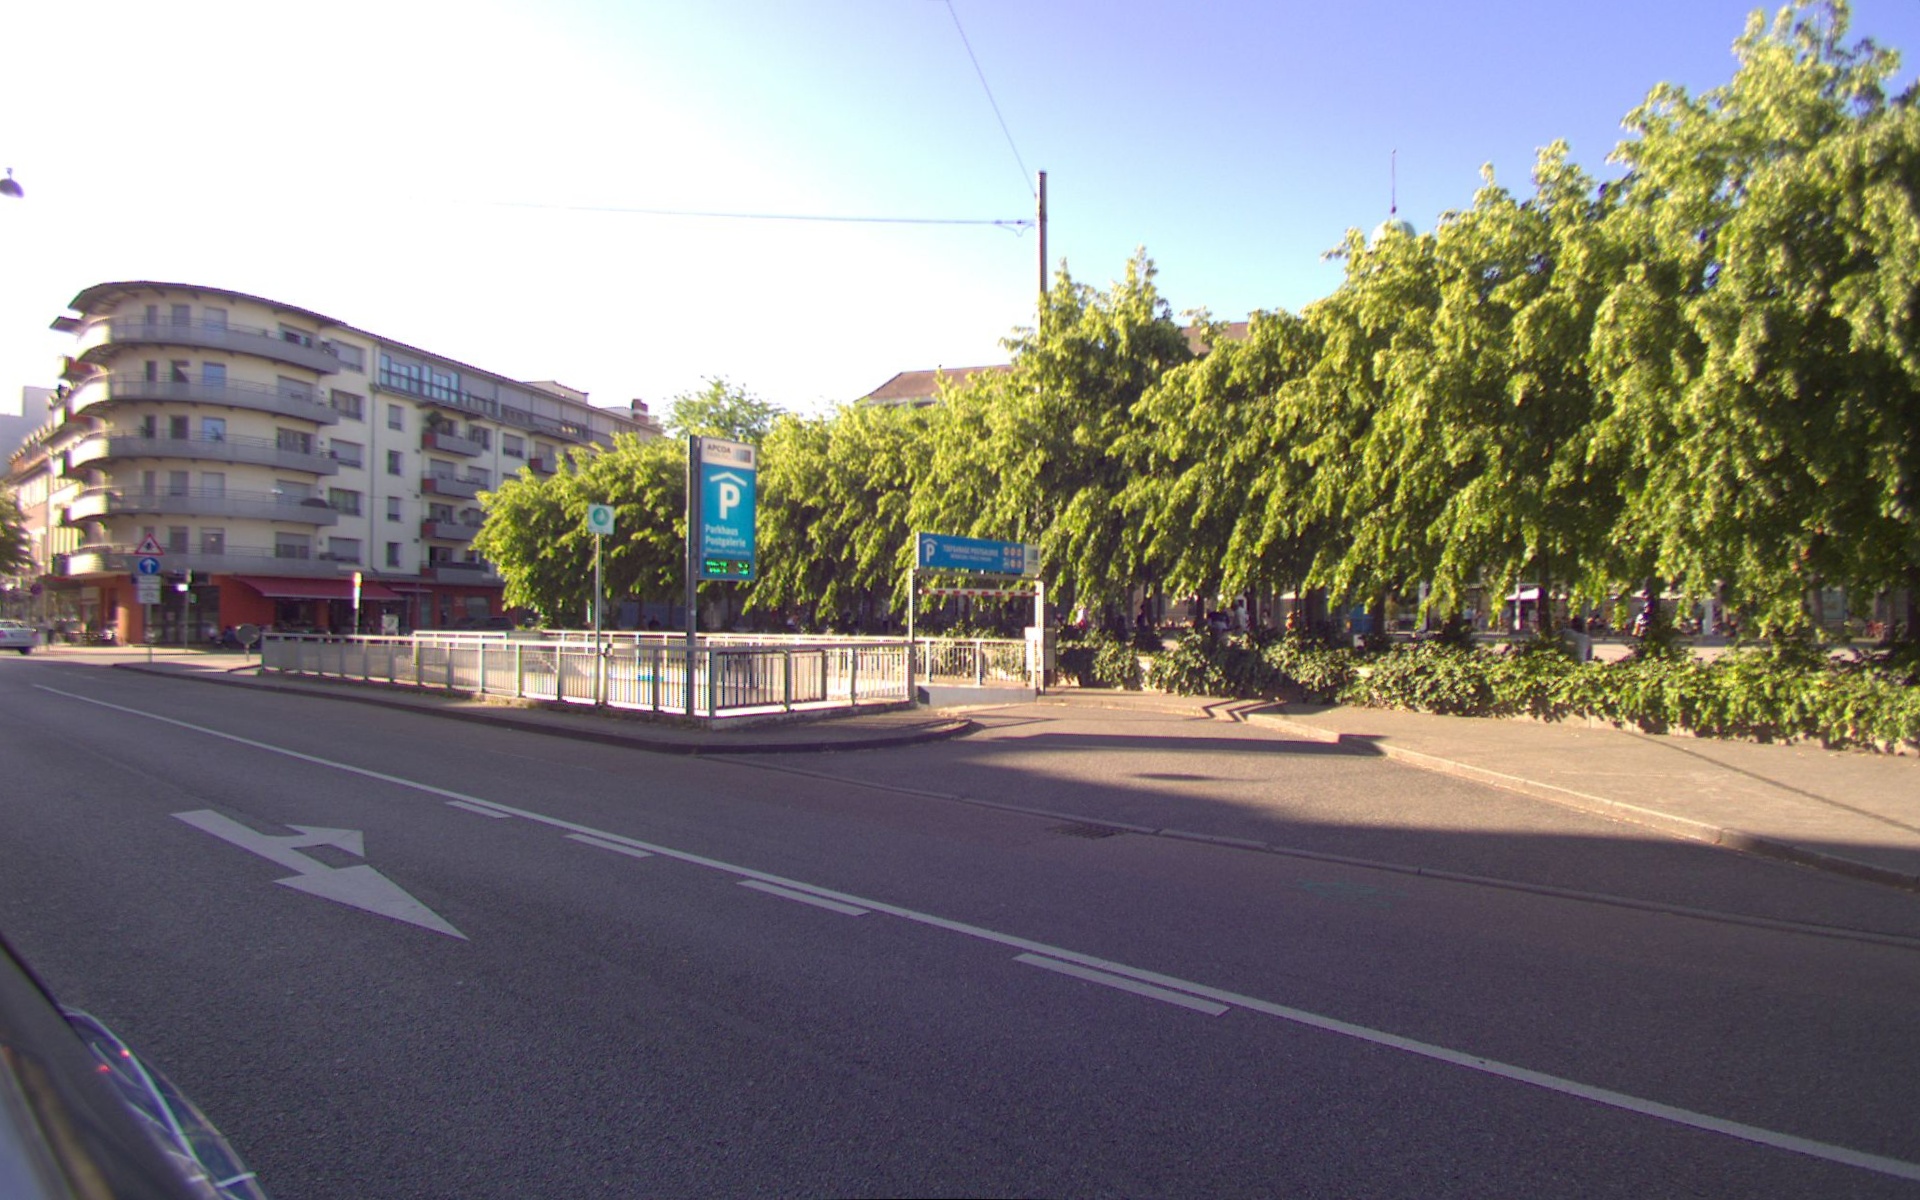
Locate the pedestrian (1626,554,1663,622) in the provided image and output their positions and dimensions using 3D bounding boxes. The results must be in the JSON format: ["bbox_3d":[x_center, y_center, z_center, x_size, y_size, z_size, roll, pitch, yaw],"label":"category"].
[{"bbox_3d":[17.672,-0.310,26.137,0.643,1.734,0.604,-1,0,22],"label":"pedestrian"}]

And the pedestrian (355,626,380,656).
[{"bbox_3d":[-32.578,2.247,55.661,0.877,1.607,0.861,-1,0,2],"label":"pedestrian"}]

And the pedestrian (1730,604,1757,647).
[{"bbox_3d":[31.686,1.030,40.939,0.641,1.734,0.605,-1,0,18],"label":"pedestrian"}]

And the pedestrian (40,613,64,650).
[{"bbox_3d":[-49.514,1.707,55.184,0.888,2.029,0.850,-1,0,40],"label":"pedestrian"}]

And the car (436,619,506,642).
[{"bbox_3d":[-30.499,1.885,63.220,1.742,1.311,3.977,-1,-1,17],"label":"car"}]

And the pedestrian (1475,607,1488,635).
[{"bbox_3d":[32.761,1.335,63.584,0.643,1.734,0.603,-1,0,26],"label":"pedestrian"}]

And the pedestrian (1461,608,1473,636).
[{"bbox_3d":[32.398,1.396,64.665,0.643,1.734,0.603,-1,0,26],"label":"pedestrian"}]

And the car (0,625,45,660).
[{"bbox_3d":[-40.138,1.694,41.639,4.230,1.363,1.814,1,-2,18],"label":"car"}]

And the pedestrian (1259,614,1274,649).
[{"bbox_3d":[15.447,1.587,50.983,0.606,1.734,0.640,-1,0,31],"label":"pedestrian"}]

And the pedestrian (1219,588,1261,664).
[{"bbox_3d":[6.252,0.577,22.593,0.645,1.661,0.626,-1,0,-35],"label":"pedestrian"}]

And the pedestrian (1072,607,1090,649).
[{"bbox_3d":[4.991,1.142,41.798,0.604,1.734,0.642,-1,0,21],"label":"pedestrian"}]
